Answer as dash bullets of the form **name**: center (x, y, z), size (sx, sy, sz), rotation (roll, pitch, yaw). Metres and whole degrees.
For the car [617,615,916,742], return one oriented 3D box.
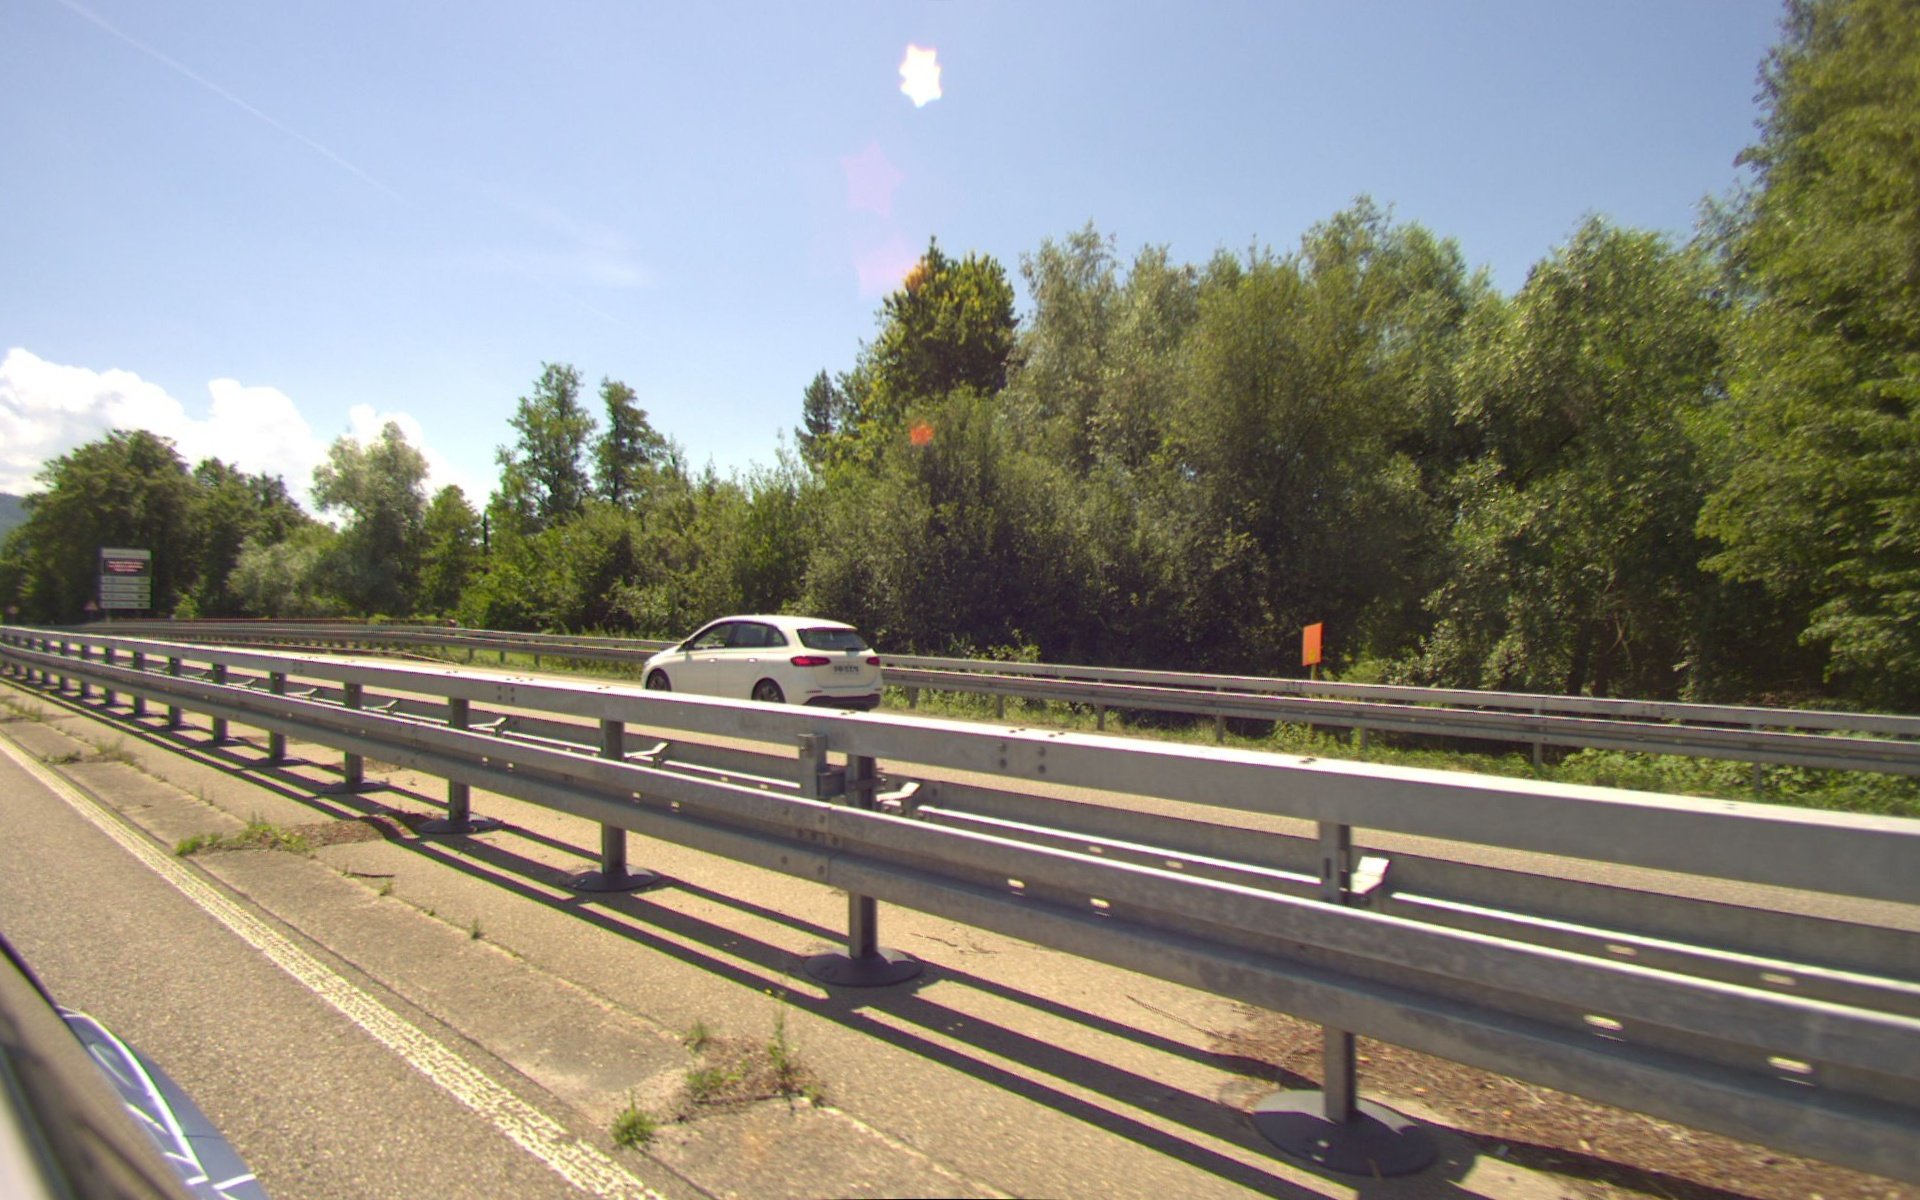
- **car**: center (-3.058, 1.085, 15.339), size (4.838, 1.611, 1.799), rotation (0, -3, 41)
